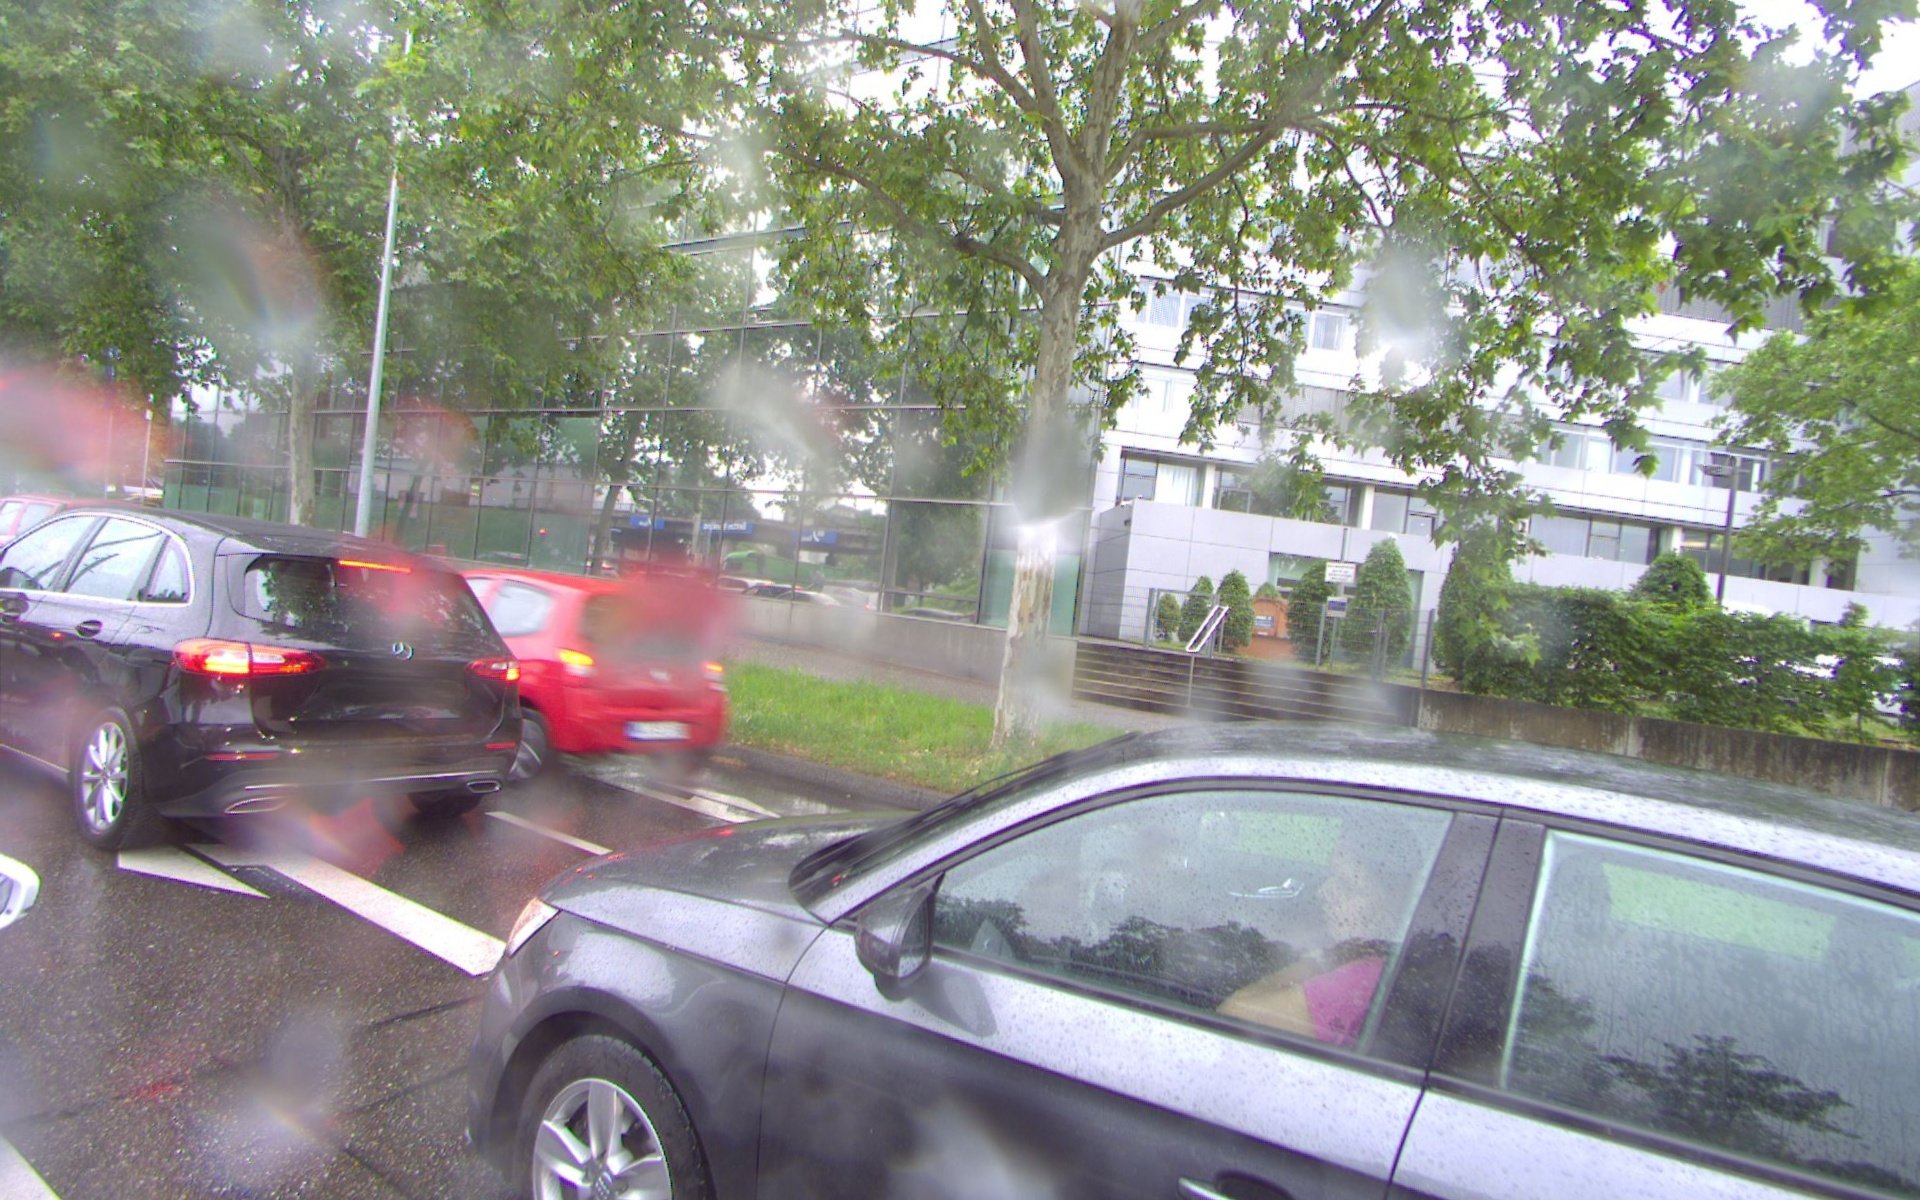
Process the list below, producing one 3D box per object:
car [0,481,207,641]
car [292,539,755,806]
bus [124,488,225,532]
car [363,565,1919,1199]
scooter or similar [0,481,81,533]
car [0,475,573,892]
[{"bbox_3d":[-12.099,-0.585,13.442,4.201,1.714,1.714,6,-2,32],"label":"car"},{"bbox_3d":[-3.491,0.481,7.956,3.332,1.480,1.572,7,-1,31],"label":"car"},{"bbox_3d":[-84.145,-9.531,108.141,2.440,3.465,11.994,7,0,-7],"label":"bus"},{"bbox_3d":[0.668,0.895,2.132,3.718,1.445,1.679,7,-1,31],"label":"car"},{"bbox_3d":[-54.528,-5.505,58.147,5.228,2.476,1.893,7,0,-9],"label":"scooter or similar"},{"bbox_3d":[-4.347,0.248,5.754,4.022,1.573,1.751,7,-1,31],"label":"car"}]
